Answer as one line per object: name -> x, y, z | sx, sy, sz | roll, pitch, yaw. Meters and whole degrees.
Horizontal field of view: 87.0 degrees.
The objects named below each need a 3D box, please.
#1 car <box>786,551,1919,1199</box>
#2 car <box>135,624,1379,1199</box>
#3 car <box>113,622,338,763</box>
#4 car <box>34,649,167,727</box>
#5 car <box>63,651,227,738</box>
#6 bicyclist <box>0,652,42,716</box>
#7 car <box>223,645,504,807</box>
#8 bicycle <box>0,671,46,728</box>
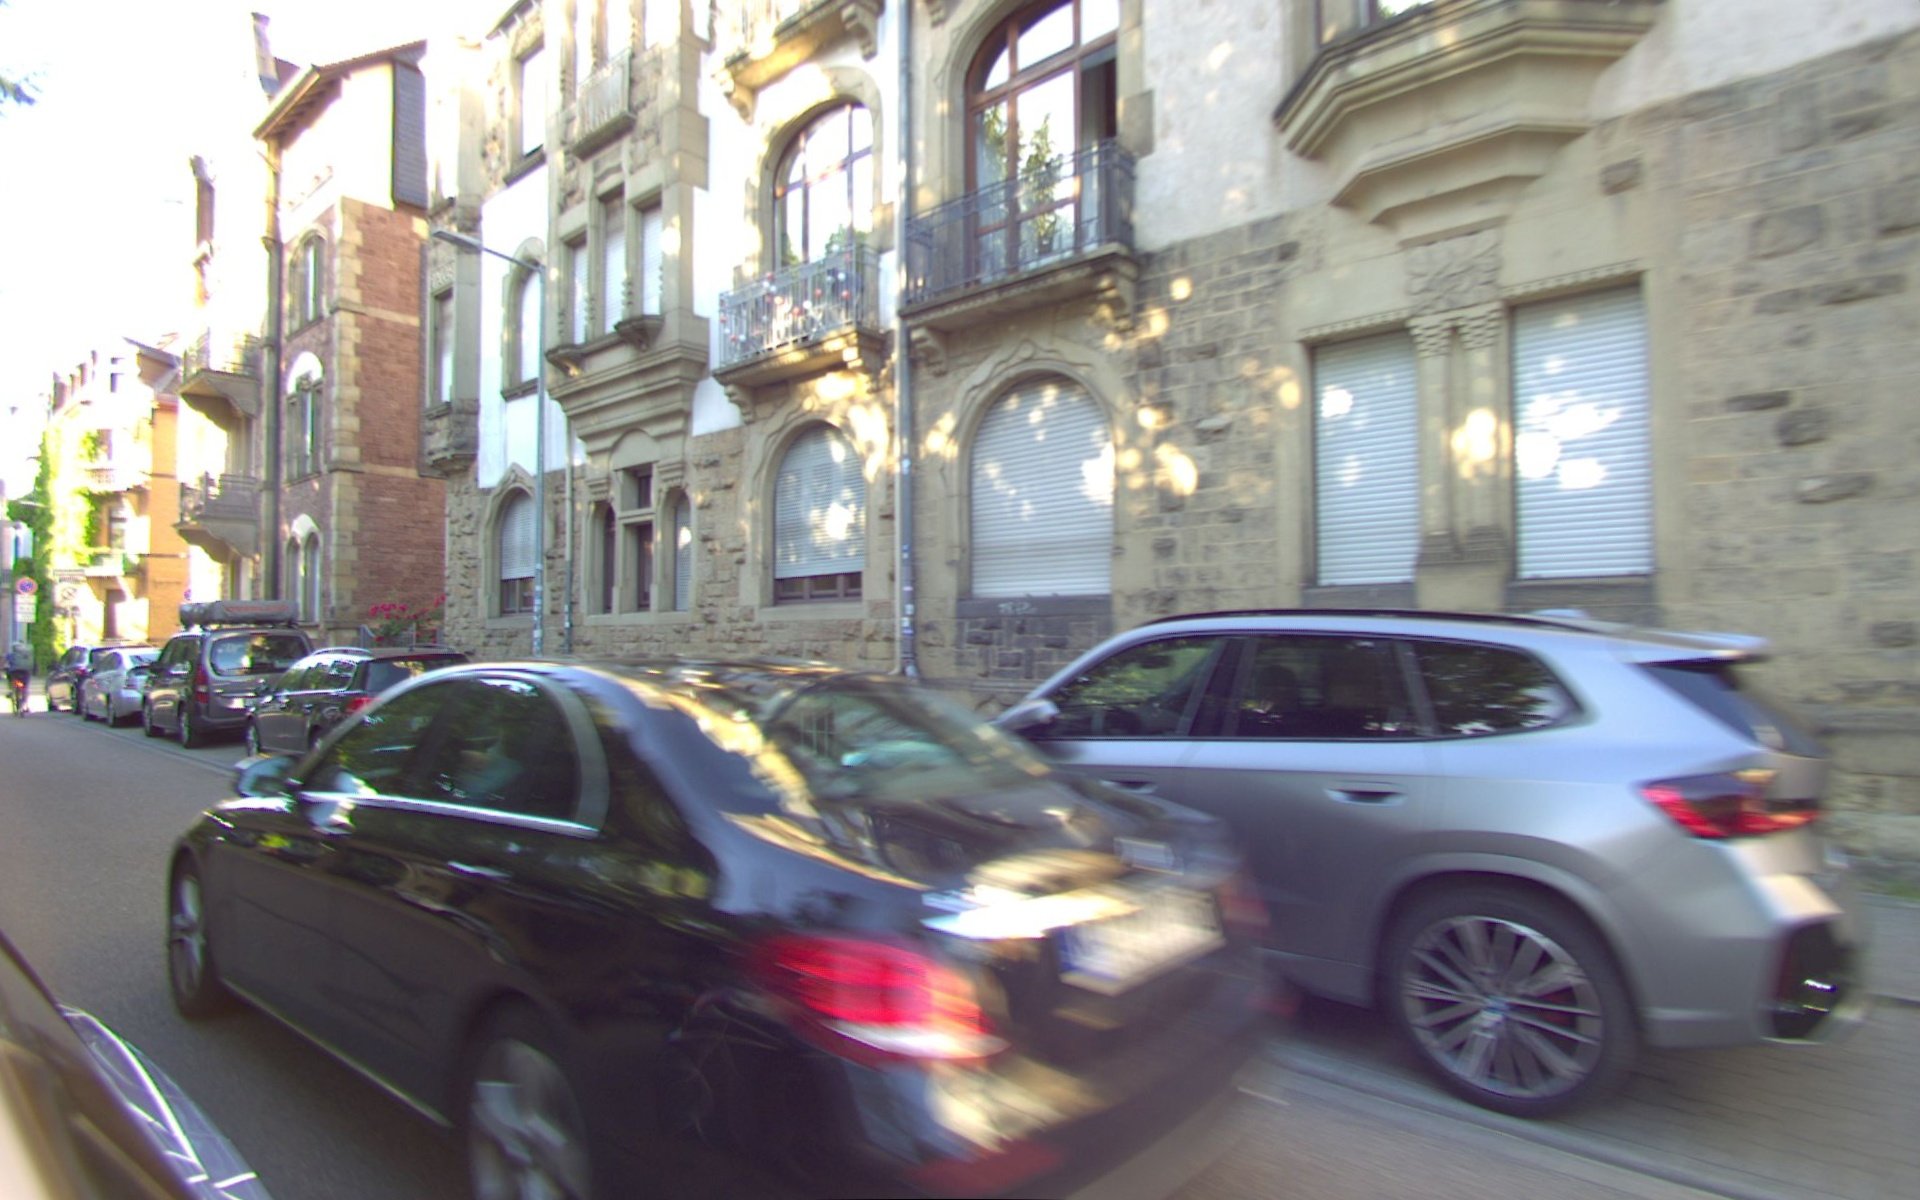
car -> 1.436, 0.754, 4.631 | 4.391, 1.634, 2.029 | -1, -2, 39
car -> -1.132, 0.856, 3.445 | 4.380, 1.497, 1.876 | -1, -3, 42
car -> -12.224, 1.435, 16.734 | 4.493, 1.989, 1.949 | -3, -2, 39
car -> -20.563, 2.037, 24.156 | 4.254, 1.634, 1.712 | -3, -2, 39
car -> -16.495, 1.839, 20.409 | 4.450, 1.510, 1.712 | -3, -2, 39
bicyclist -> -20.679, 1.822, 22.141 | 1.058, 1.355, 0.658 | -3, -5, 38
car -> -7.567, 1.386, 12.613 | 4.708, 1.586, 1.711 | -1, -2, 43
bicycle -> -20.986, 2.159, 22.318 | 2.617, 1.187, 0.746 | -3, -5, 38
